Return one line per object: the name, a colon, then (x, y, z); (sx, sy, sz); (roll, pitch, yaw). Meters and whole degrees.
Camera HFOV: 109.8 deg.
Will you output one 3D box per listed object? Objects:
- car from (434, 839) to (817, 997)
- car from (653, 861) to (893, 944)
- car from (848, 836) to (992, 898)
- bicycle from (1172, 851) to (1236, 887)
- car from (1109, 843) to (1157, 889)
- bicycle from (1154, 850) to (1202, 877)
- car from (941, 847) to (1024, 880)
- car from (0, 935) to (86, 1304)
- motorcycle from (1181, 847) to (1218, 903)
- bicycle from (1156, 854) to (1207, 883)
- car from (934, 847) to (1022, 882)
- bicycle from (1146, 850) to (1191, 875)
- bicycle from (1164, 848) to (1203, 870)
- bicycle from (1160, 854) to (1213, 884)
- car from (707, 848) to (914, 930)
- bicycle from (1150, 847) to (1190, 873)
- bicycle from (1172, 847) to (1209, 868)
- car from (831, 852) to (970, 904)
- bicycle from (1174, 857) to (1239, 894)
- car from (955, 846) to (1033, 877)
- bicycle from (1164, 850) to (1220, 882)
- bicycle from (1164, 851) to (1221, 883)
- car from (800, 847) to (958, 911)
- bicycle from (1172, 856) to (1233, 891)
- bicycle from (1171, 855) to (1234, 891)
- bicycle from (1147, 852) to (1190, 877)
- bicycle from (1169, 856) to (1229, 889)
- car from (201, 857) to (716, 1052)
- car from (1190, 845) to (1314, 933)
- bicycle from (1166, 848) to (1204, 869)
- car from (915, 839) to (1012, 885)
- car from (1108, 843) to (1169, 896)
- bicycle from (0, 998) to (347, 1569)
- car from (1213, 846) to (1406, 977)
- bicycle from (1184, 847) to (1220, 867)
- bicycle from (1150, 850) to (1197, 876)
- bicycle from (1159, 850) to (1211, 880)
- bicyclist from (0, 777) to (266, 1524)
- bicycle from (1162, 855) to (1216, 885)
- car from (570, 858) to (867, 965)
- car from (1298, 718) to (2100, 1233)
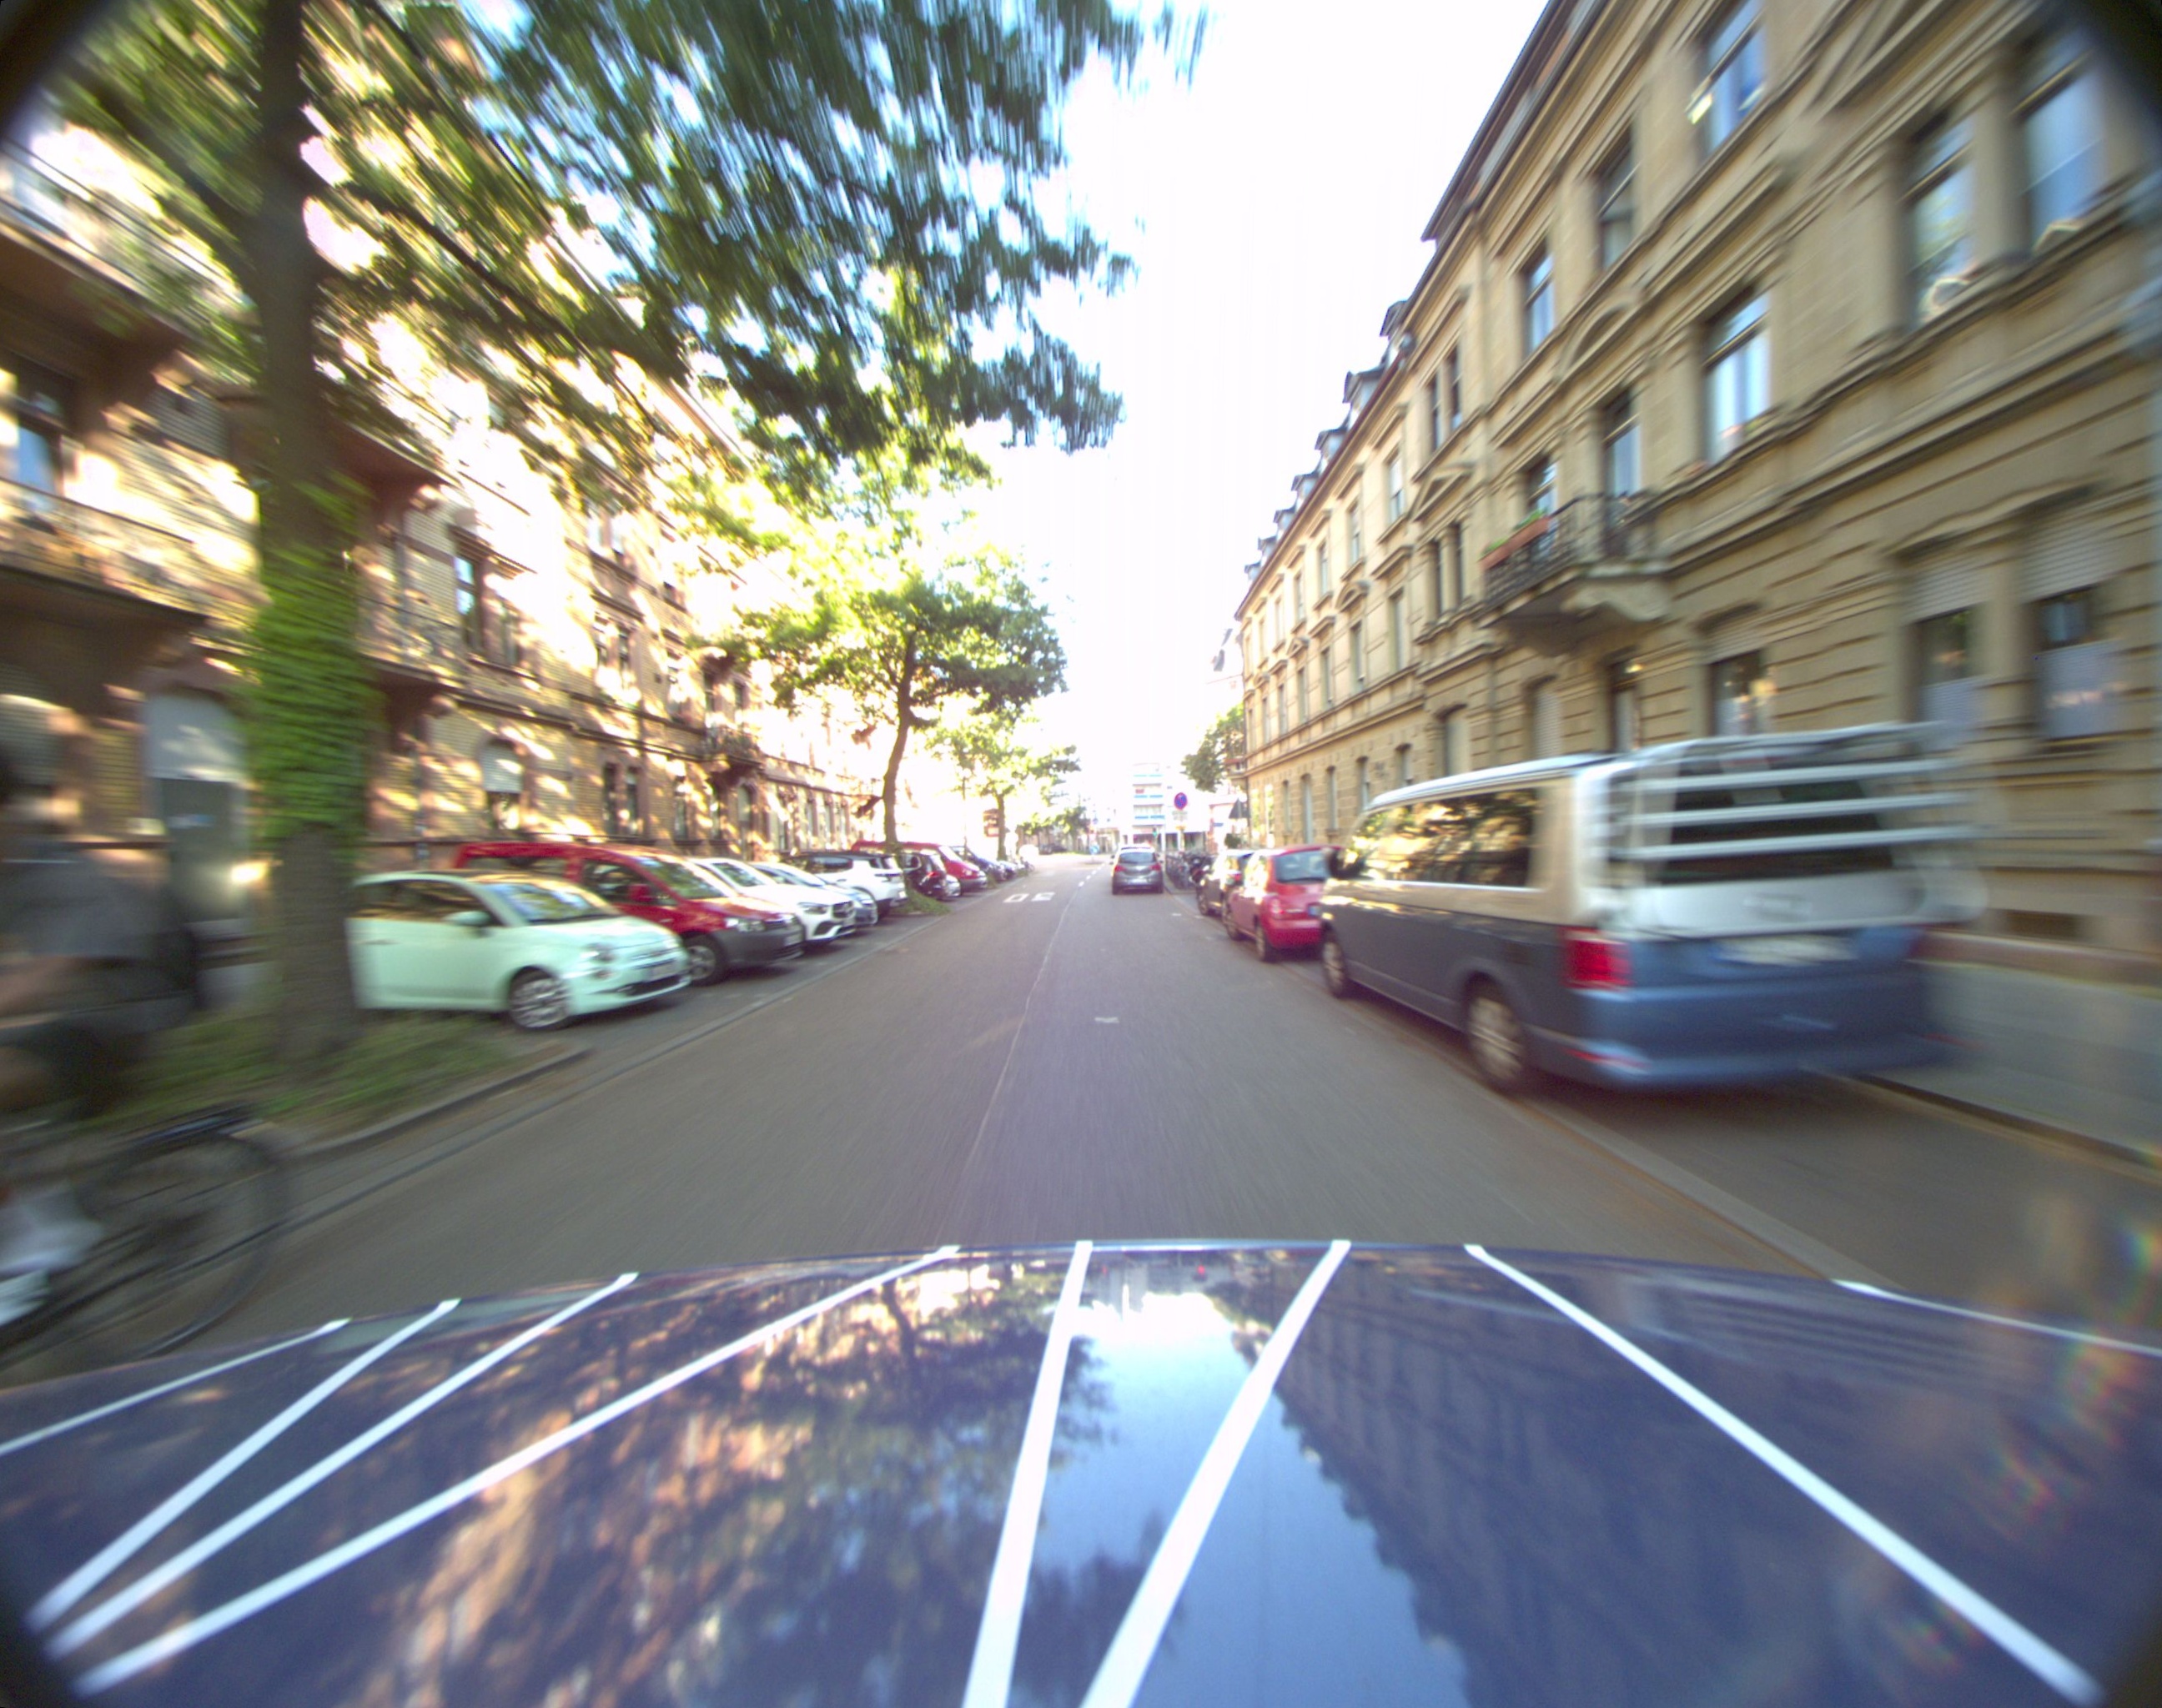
car: (-5.875, 0.764, 10.137); (4.056, 1.876, 1.781); (0, 1, 3)
car: (-6.015, 0.917, 15.151); (4.056, 1.473, 1.781); (0, 1, 3)
car: (-5.725, 0.444, 27.408); (4.699, 1.966, 1.925); (2, 1, 1)
bicycle: (4.167, 0.513, 25.761); (2.043, 1.092, 0.587); (-3, 1, 3)
car: (2.038, 0.414, 30.578); (1.745, 1.630, 3.825); (-3, 1, 2)
bicycle: (4.299, 0.419, 33.722); (2.043, 1.092, 0.499); (-3, 1, 3)
car: (-5.115, 0.467, 39.777); (4.056, 1.521, 1.781); (2, 1, 1)
car: (-6.251, 1.071, 2.404); (3.844, 1.452, 1.738); (0, 1, -1)
motorcycle: (3.364, 0.550, 21.730); (0.624, 1.482, 2.489); (-3, 1, 1)
bicycle: (4.227, 0.609, 32.153); (2.043, 1.092, 0.499); (-3, 1, 3)
car: (-5.043, 0.488, 37.622); (4.056, 1.521, 1.781); (2, 1, 1)
bicycle: (4.182, 0.395, 36.290); (2.043, 1.092, 0.499); (-3, 1, 3)
bicycle: (5.708, 0.269, 42.191); (2.042, 1.092, 0.500); (-3, 1, 10)
bicycle: (4.300, 0.620, 30.950); (2.043, 1.092, 0.499); (-3, 1, 3)
car: (-6.097, 0.757, 17.439); (4.056, 1.612, 1.781); (2, 1, 2)
bicycle: (4.790, 0.320, 41.070); (2.043, 1.272, 0.499); (-3, 1, 3)
bicycle: (6.437, 0.214, 44.598); (2.042, 1.092, 0.500); (-3, 1, 10)
car: (-5.800, 0.752, 24.735); (4.056, 1.447, 1.781); (2, 1, 1)
bicycle: (4.139, 0.700, 25.141); (2.043, 1.092, 0.587); (-3, 1, 3)
car: (-4.802, 0.393, 42.169); (4.056, 1.521, 1.781); (2, 1, 1)
bicycle: (4.267, 0.471, 29.336); (2.043, 1.092, 0.499); (-3, 1, 3)
bicycle: (4.226, 0.476, 28.806); (2.043, 1.092, 0.499); (-3, 1, 3)
car: (-5.793, 0.693, 22.098); (4.056, 1.612, 1.781); (2, 1, 2)
bicycle: (4.294, 0.685, 26.983); (2.043, 1.092, 0.587); (-3, 1, 3)
bicycle: (4.207, 0.655, 26.374); (2.043, 1.092, 0.499); (-3, 1, 3)
bicycle: (4.340, 0.529, 37.683); (2.043, 1.092, 0.499); (-3, 1, 3)
bicycle: (4.286, 0.673, 27.657); (2.043, 1.092, 0.499); (-3, 1, 3)
car: (-6.030, 0.899, 7.691); (3.843, 1.673, 1.739); (0, 1, 3)
car: (3.364, 0.615, 15.632); (1.641, 1.482, 3.825); (-3, 1, 1)
bicycle: (5.943, 0.247, 43.340); (2.042, 1.092, 0.500); (-3, 1, 10)
car: (-5.322, 0.344, 34.741); (4.056, 1.922, 1.781); (2, 1, 1)
car: (1.936, 0.474, 26.382); (1.868, 1.620, 3.825); (-3, 1, 2)
bicycle: (-3.072, 1.169, 1.824); (0.712, 1.253, 1.887); (-2, 1, 1)
car: (3.087, 0.680, 11.072); (1.641, 1.482, 3.825); (-3, 1, 1)
bicycle: (7.301, 0.168, 45.772); (2.041, 1.092, 0.500); (-3, 1, 13)
bicycle: (4.270, 0.405, 35.117); (2.043, 1.092, 0.499); (-3, 1, 3)
bicycle: (4.292, 0.445, 31.528); (2.043, 1.092, 0.499); (-3, 1, 3)
bicyclist: (-3.076, 0.747, 1.925); (0.712, 1.865, 1.120); (-2, 1, 1)
bicycle: (4.298, 0.640, 30.429); (2.043, 1.092, 0.499); (-3, 1, 3)
car: (-5.837, 0.887, 12.569); (4.056, 1.571, 1.781); (0, 1, 3)
car: (3.261, 0.490, 5.537); (1.947, 2.045, 4.744); (-3, 1, 1)
